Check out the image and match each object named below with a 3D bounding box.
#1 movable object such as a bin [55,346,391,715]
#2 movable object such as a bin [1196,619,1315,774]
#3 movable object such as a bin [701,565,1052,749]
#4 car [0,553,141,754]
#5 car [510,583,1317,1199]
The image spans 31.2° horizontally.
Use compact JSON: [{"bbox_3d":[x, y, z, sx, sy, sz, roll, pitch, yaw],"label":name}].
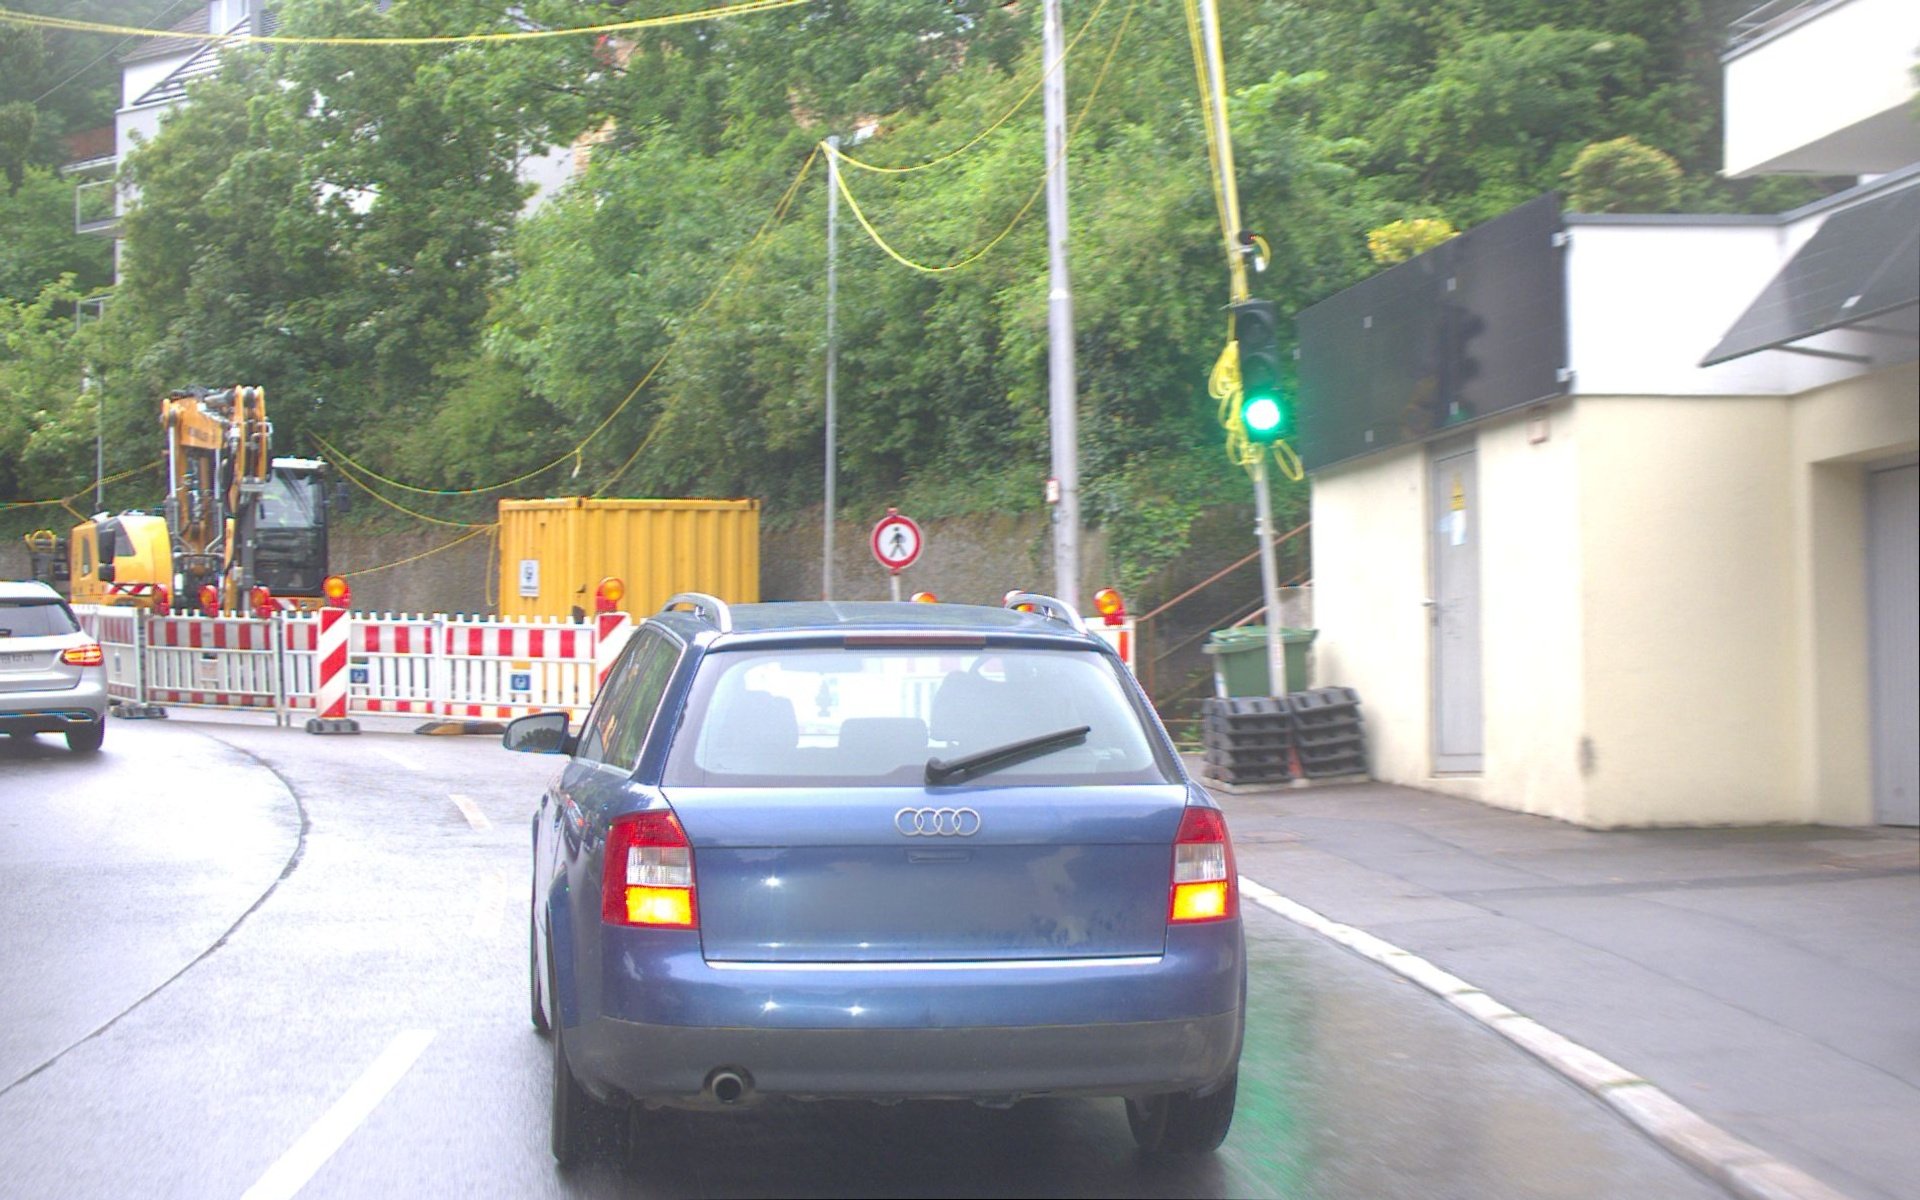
[{"bbox_3d":[-8.987,-0.837,41.263,2.818,4.000,7.329,-1,1,-21],"label":"movable object such as a bin"},{"bbox_3d":[2.025,0.654,23.620,0.719,1.028,0.592,-1,1,-3],"label":"movable object such as a bin"},{"bbox_3d":[-0.840,0.465,31.390,1.993,1.514,4.001,0,1,-20],"label":"movable object such as a bin"},{"bbox_3d":[-8.655,0.412,29.846,1.926,1.612,4.321,-1,1,-28],"label":"car"},{"bbox_3d":[-0.347,0.693,9.773,1.785,1.437,3.964,-1,1,-8],"label":"car"}]
